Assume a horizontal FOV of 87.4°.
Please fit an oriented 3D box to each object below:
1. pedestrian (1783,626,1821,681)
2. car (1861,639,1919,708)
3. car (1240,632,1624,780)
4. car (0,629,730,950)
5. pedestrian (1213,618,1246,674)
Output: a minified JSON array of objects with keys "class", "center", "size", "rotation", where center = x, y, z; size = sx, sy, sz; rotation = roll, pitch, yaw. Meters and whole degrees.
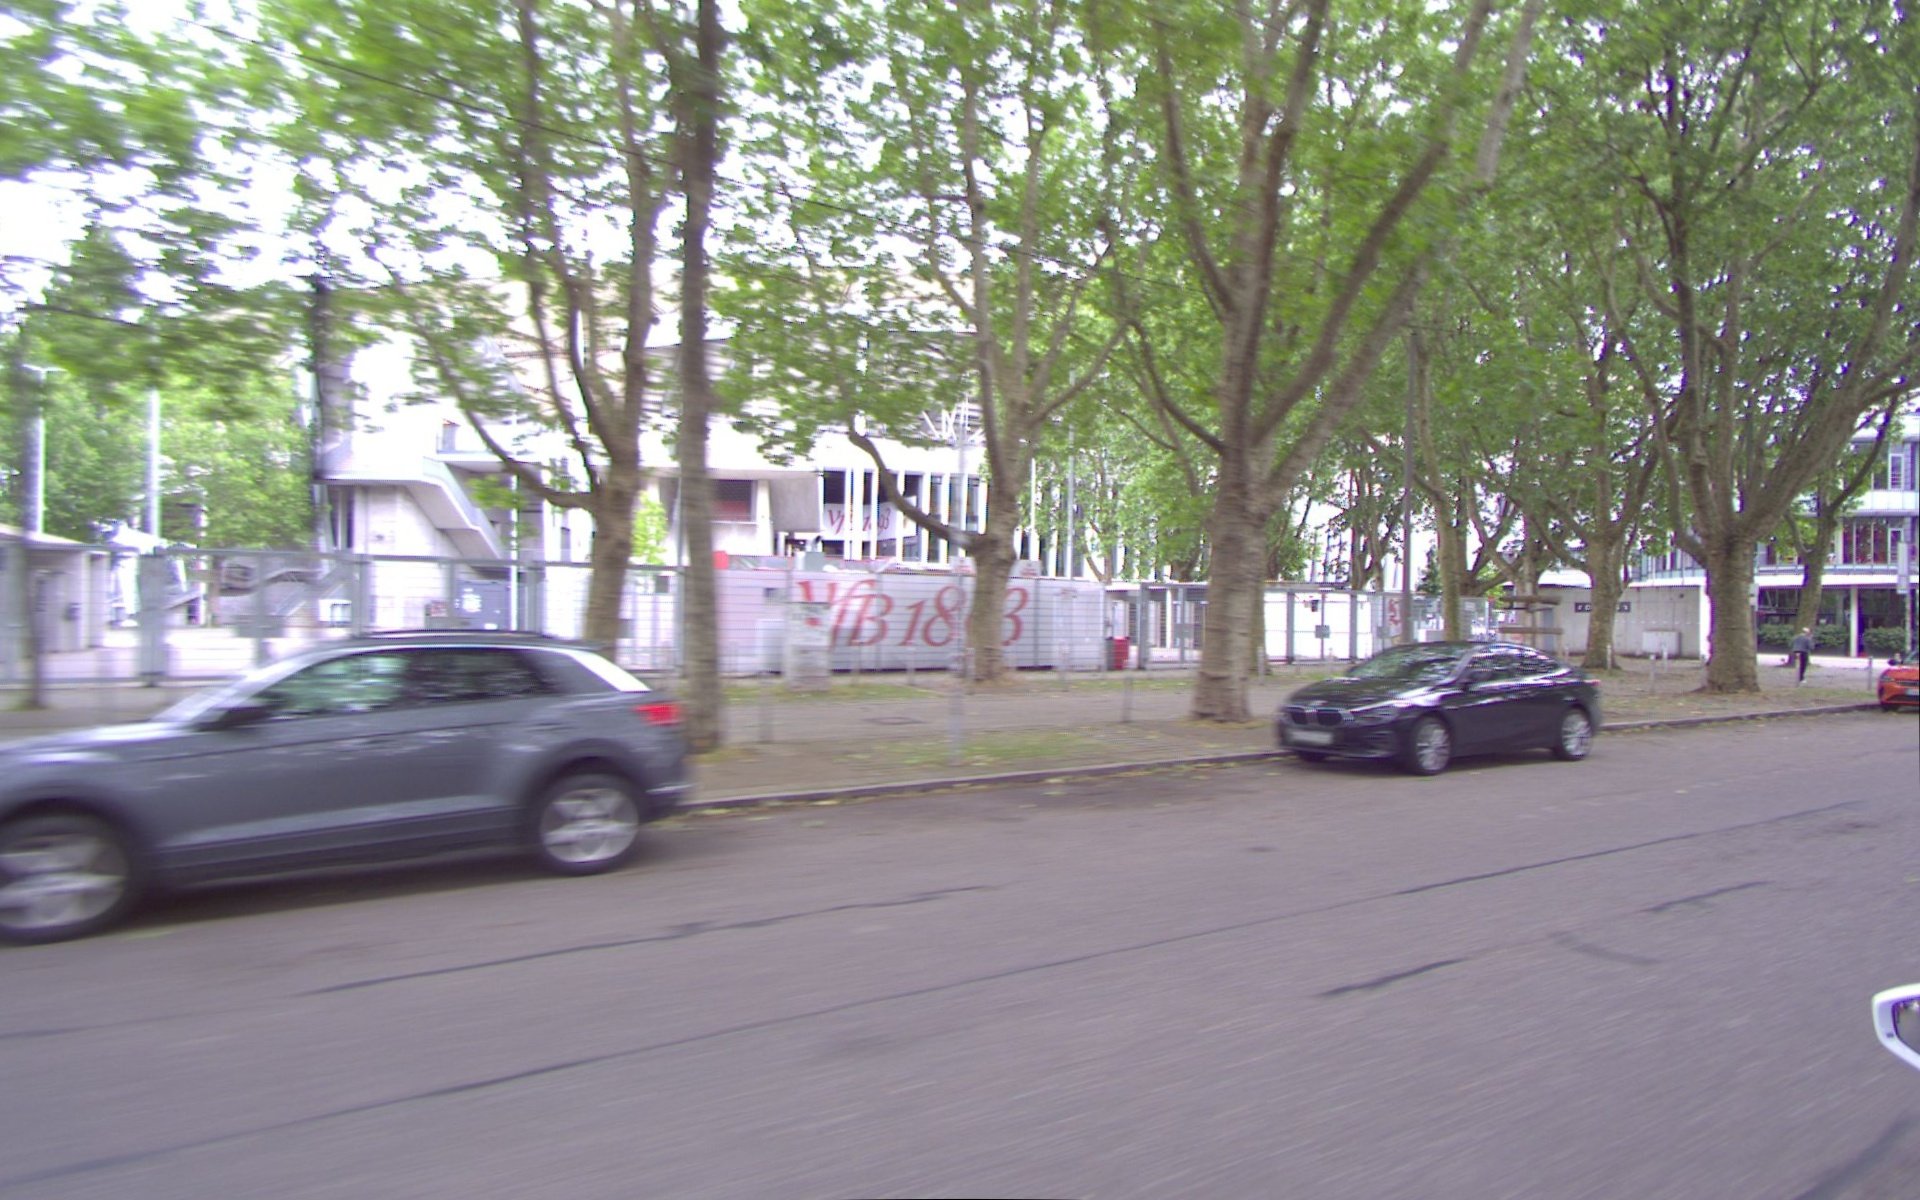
[{"class":"pedestrian","center":[25.541,1.627,30.474],"size":[0.780,1.641,0.591],"rotation":[1,-1,-21]},{"class":"car","center":[21.058,1.531,21.296],"size":[3.953,1.372,1.800],"rotation":[1,-1,-30]},{"class":"car","center":[5.715,1.148,12.052],"size":[4.569,1.485,1.820],"rotation":[1,-2,-28]},{"class":"car","center":[-3.760,0.971,6.456],"size":[4.102,1.547,1.869],"rotation":[1,-2,-30]},{"class":"pedestrian","center":[7.704,1.301,28.718],"size":[0.652,1.564,0.664],"rotation":[1,-1,-29]}]
